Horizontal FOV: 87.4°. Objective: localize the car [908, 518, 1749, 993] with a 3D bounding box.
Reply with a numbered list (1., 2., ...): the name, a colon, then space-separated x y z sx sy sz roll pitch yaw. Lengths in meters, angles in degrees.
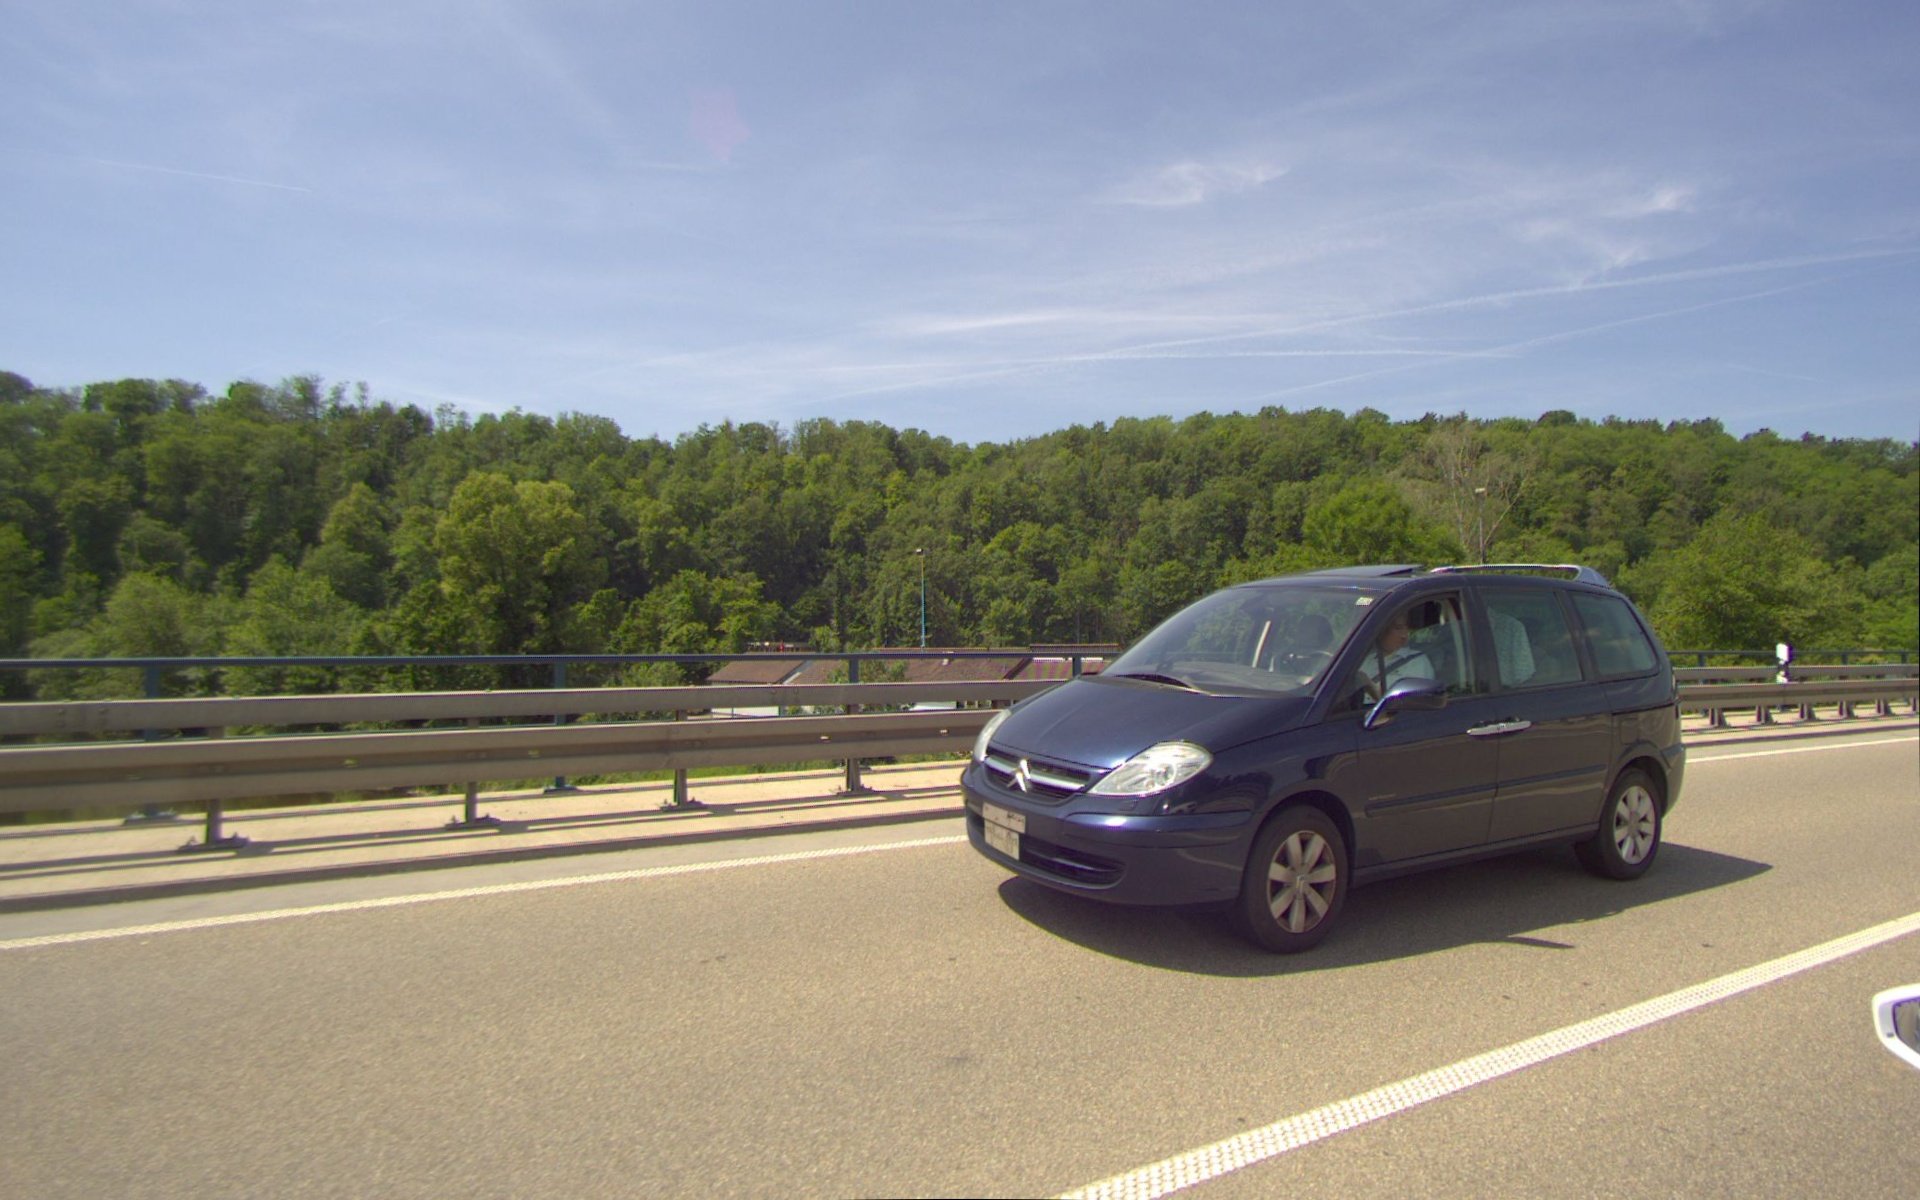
1. car: 2.314 0.648 5.866 4.916 1.822 1.845 1 0 -29
